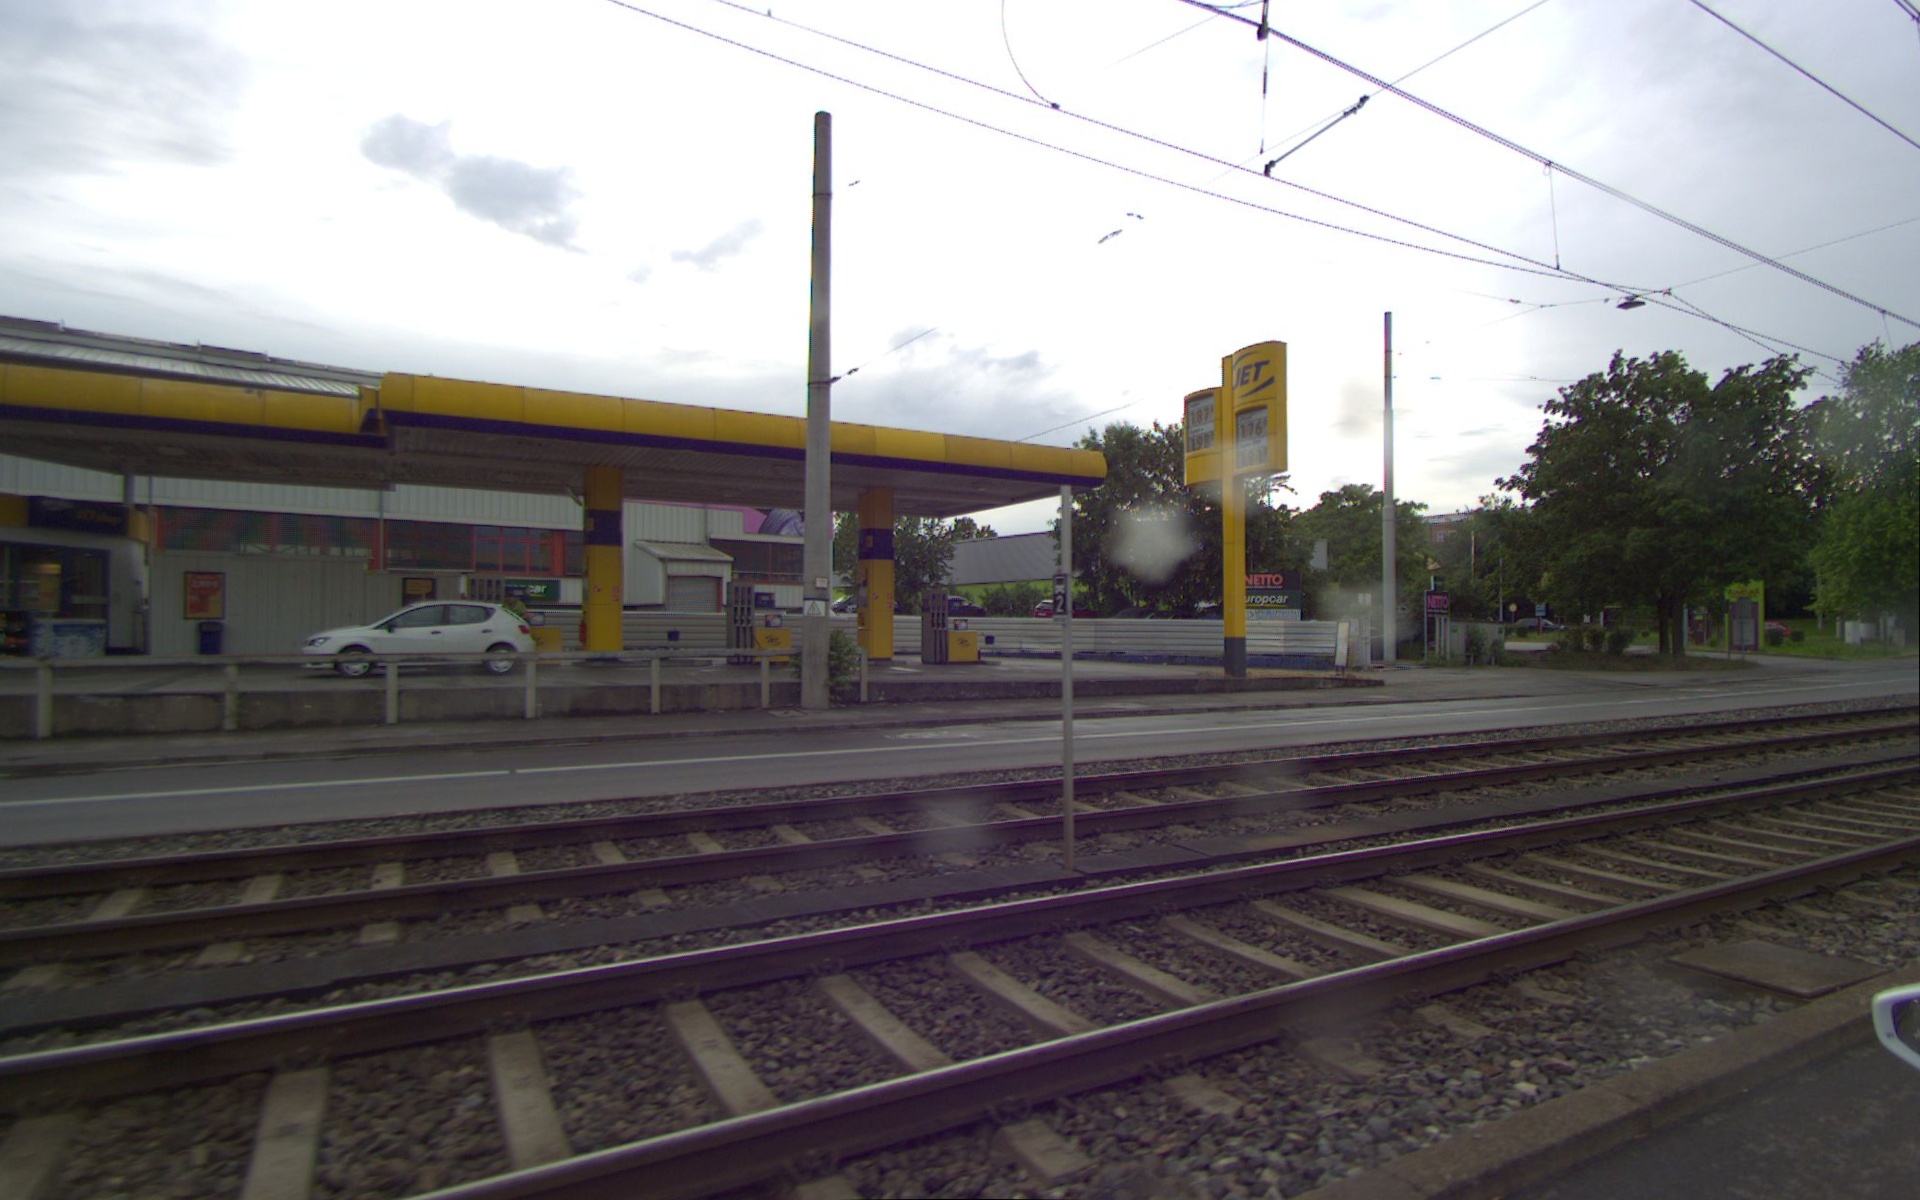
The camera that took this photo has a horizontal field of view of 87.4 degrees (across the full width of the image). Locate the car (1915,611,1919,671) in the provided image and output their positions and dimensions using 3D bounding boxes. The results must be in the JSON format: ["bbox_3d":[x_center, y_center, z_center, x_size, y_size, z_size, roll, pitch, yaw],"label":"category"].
[{"bbox_3d":[33.281,1.317,32.632,5.003,2.039,1.984,0,-4,-32],"label":"car"}]

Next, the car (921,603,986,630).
[{"bbox_3d":[-0.380,1.050,63.773,3.965,1.639,1.673,2,-1,-38],"label":"car"}]

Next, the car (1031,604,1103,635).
[{"bbox_3d":[6.047,1.123,56.366,3.965,1.639,1.673,2,-1,-38],"label":"car"}]

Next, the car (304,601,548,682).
[{"bbox_3d":[-10.364,0.785,19.633,4.031,1.434,1.760,2,-1,-33],"label":"car"}]

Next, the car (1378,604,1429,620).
[{"bbox_3d":[51.636,1.417,117.066,1.980,1.829,5.096,2,-1,-35],"label":"car"}]

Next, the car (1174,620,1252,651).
[{"bbox_3d":[12.538,1.765,49.761,3.965,1.476,1.673,2,-1,-38],"label":"car"}]

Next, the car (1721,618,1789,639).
[{"bbox_3d":[63.343,2.287,80.077,1.827,1.554,3.933,1,0,-39],"label":"car"}]

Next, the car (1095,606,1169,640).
[{"bbox_3d":[9.219,1.240,53.740,3.965,1.673,1.673,2,-1,-38],"label":"car"}]

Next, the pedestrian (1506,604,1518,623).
[{"bbox_3d":[47.048,1.125,85.640,0.598,1.623,0.674,2,-1,-24],"label":"pedestrian"}]

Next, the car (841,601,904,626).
[{"bbox_3d":[-6.045,0.944,69.572,3.966,1.633,1.851,2,-1,-39],"label":"car"}]
